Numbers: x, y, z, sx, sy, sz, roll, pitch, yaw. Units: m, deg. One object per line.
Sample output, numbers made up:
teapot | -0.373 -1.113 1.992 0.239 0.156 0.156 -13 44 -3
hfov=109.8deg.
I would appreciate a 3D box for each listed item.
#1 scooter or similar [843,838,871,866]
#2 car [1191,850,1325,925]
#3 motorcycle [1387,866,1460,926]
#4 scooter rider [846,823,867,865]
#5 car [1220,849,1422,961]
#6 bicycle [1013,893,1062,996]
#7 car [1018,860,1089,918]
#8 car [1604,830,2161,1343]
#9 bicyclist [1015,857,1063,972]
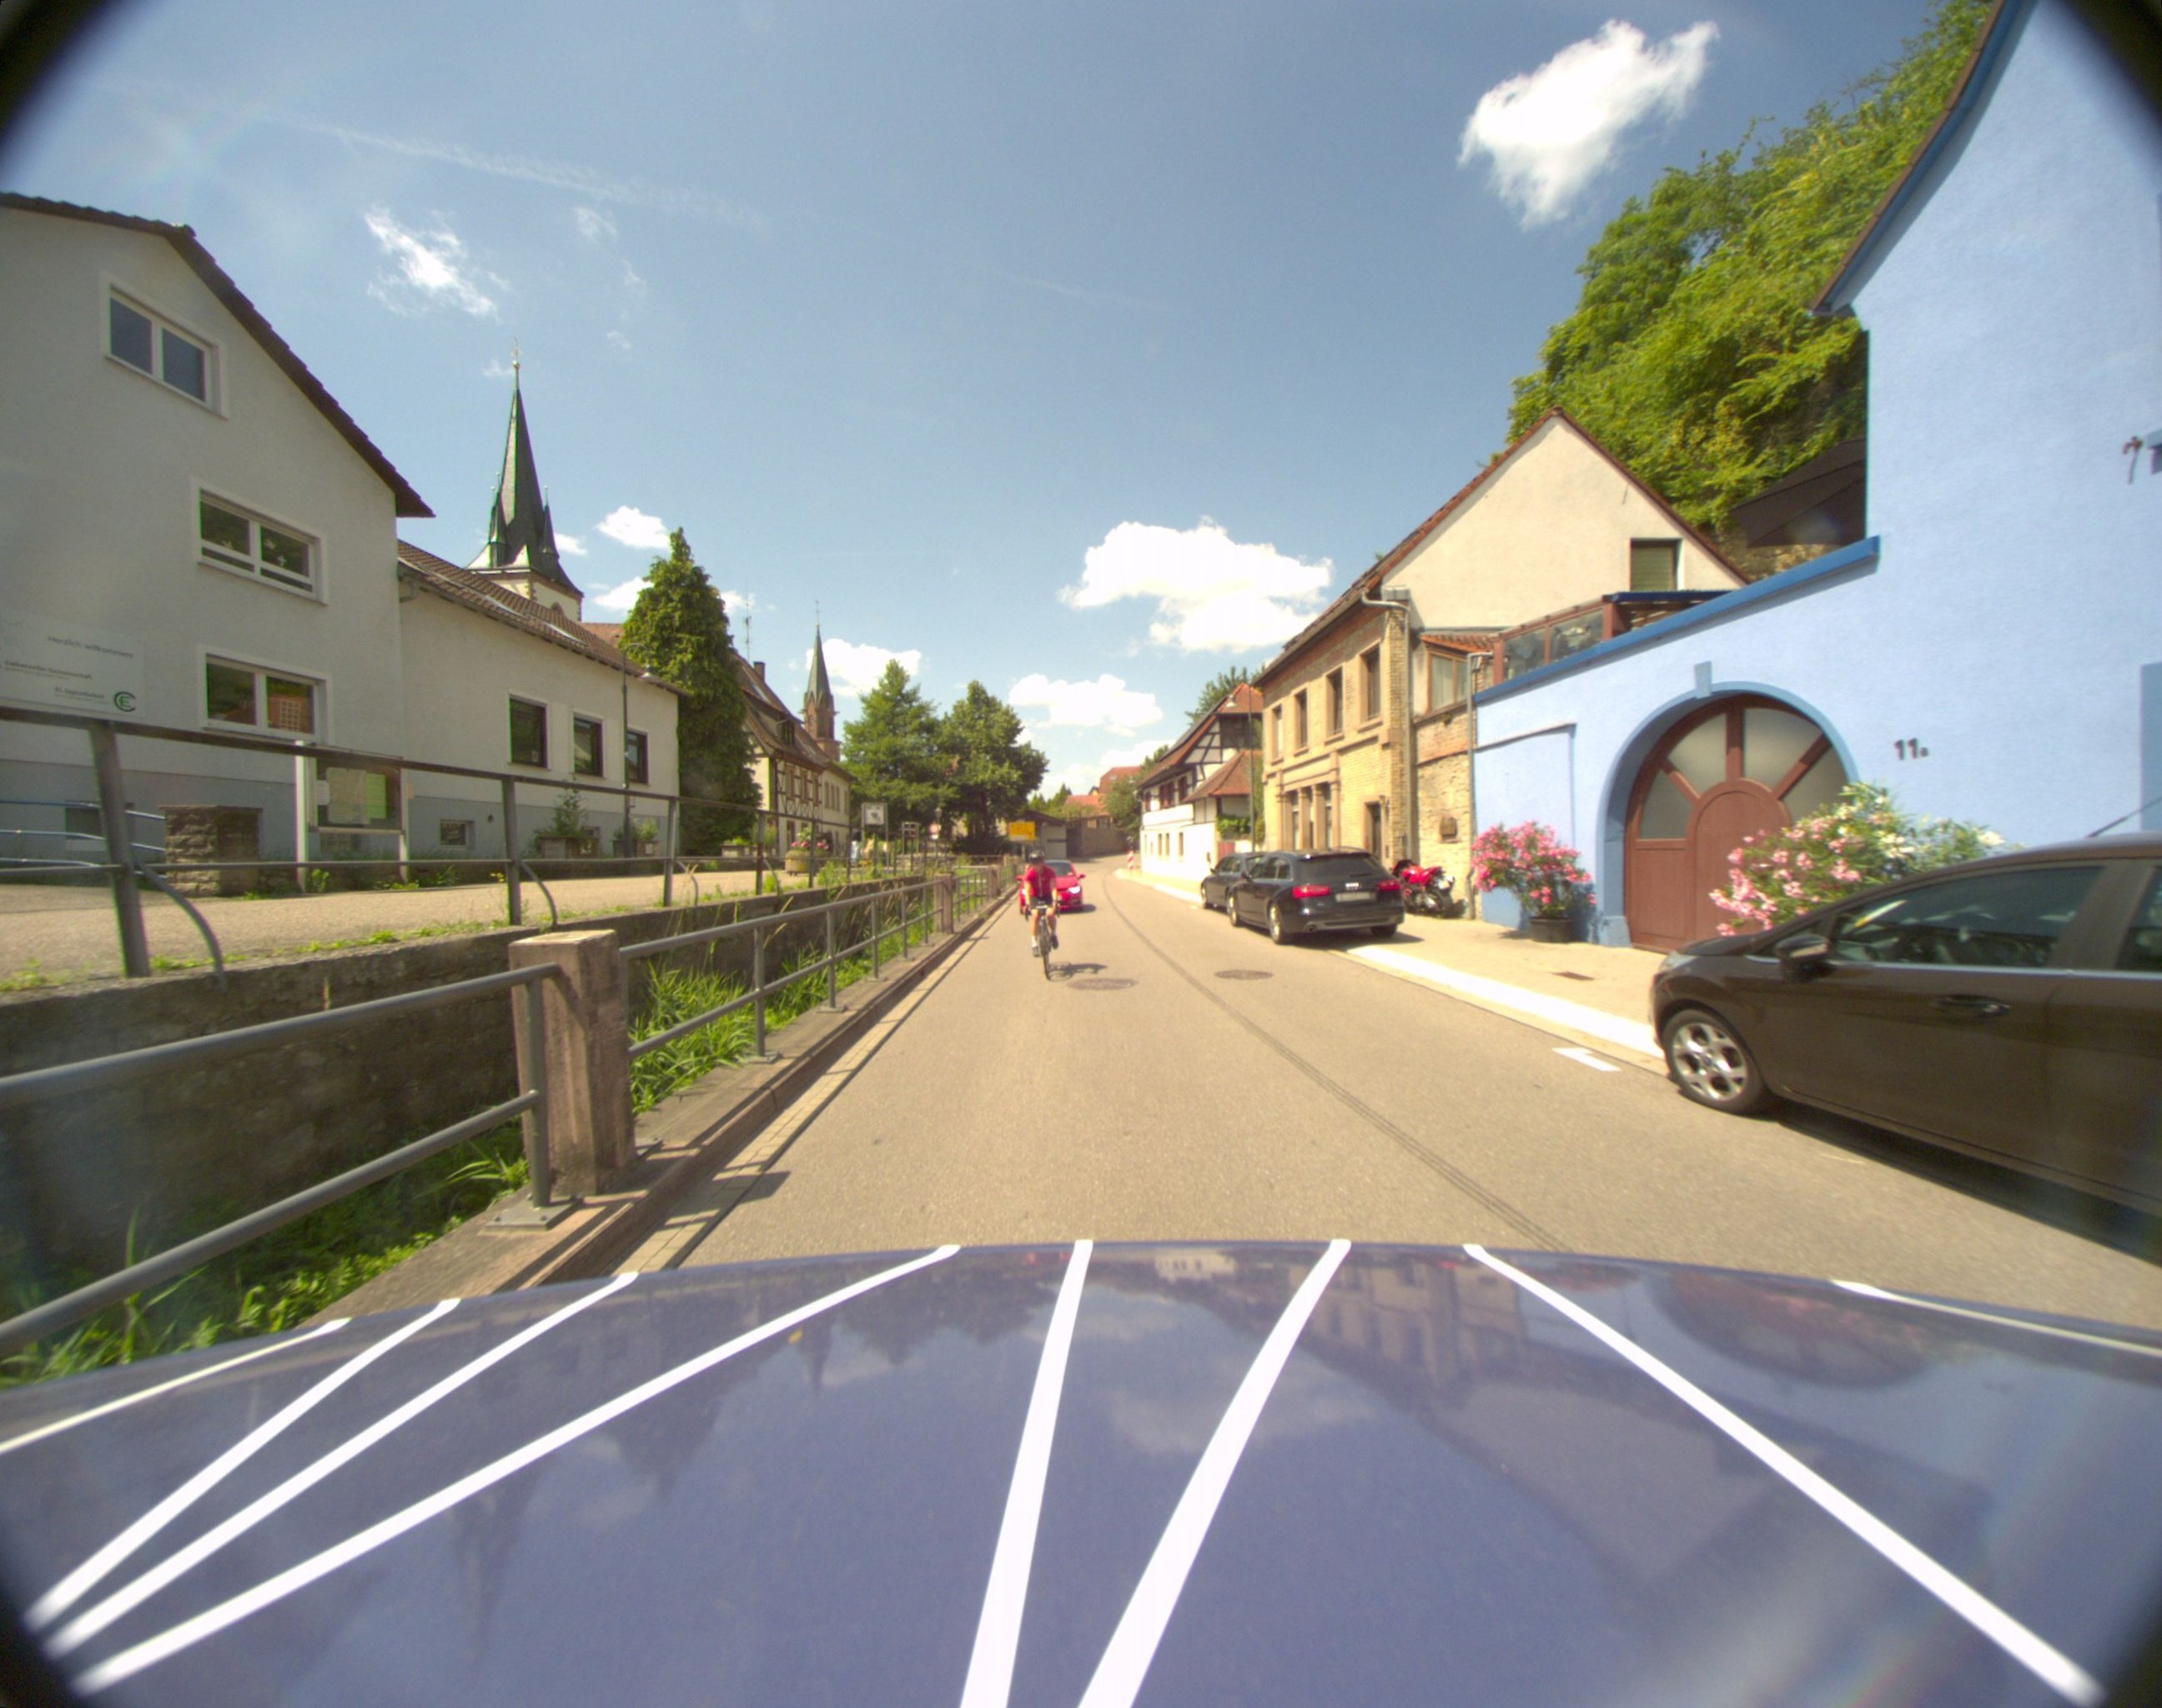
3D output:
scooter or similar | -9.282 -0.091 31.479 0.643 1.135 1.811 0 1 -1
car | 4.079 0.698 18.349 1.962 1.457 4.543 -2 1 -3
motorcycle | 6.589 0.775 14.711 0.419 0.995 1.857 -6 1 -3
scooter rider | -9.287 -0.411 31.445 0.643 1.722 0.554 -2 1 -1
car | 3.819 0.728 13.055 1.890 1.455 4.668 -4 0 0
bicycle | -0.534 1.110 9.929 0.531 1.070 2.053 -2 1 -2
car | -0.838 0.902 21.063 1.670 1.344 3.492 -2 0 -6
car | 4.169 0.707 2.785 1.721 1.521 3.856 -4 0 -1
bicyclist | -0.529 0.754 9.772 0.532 1.396 0.755 -2 1 -2
